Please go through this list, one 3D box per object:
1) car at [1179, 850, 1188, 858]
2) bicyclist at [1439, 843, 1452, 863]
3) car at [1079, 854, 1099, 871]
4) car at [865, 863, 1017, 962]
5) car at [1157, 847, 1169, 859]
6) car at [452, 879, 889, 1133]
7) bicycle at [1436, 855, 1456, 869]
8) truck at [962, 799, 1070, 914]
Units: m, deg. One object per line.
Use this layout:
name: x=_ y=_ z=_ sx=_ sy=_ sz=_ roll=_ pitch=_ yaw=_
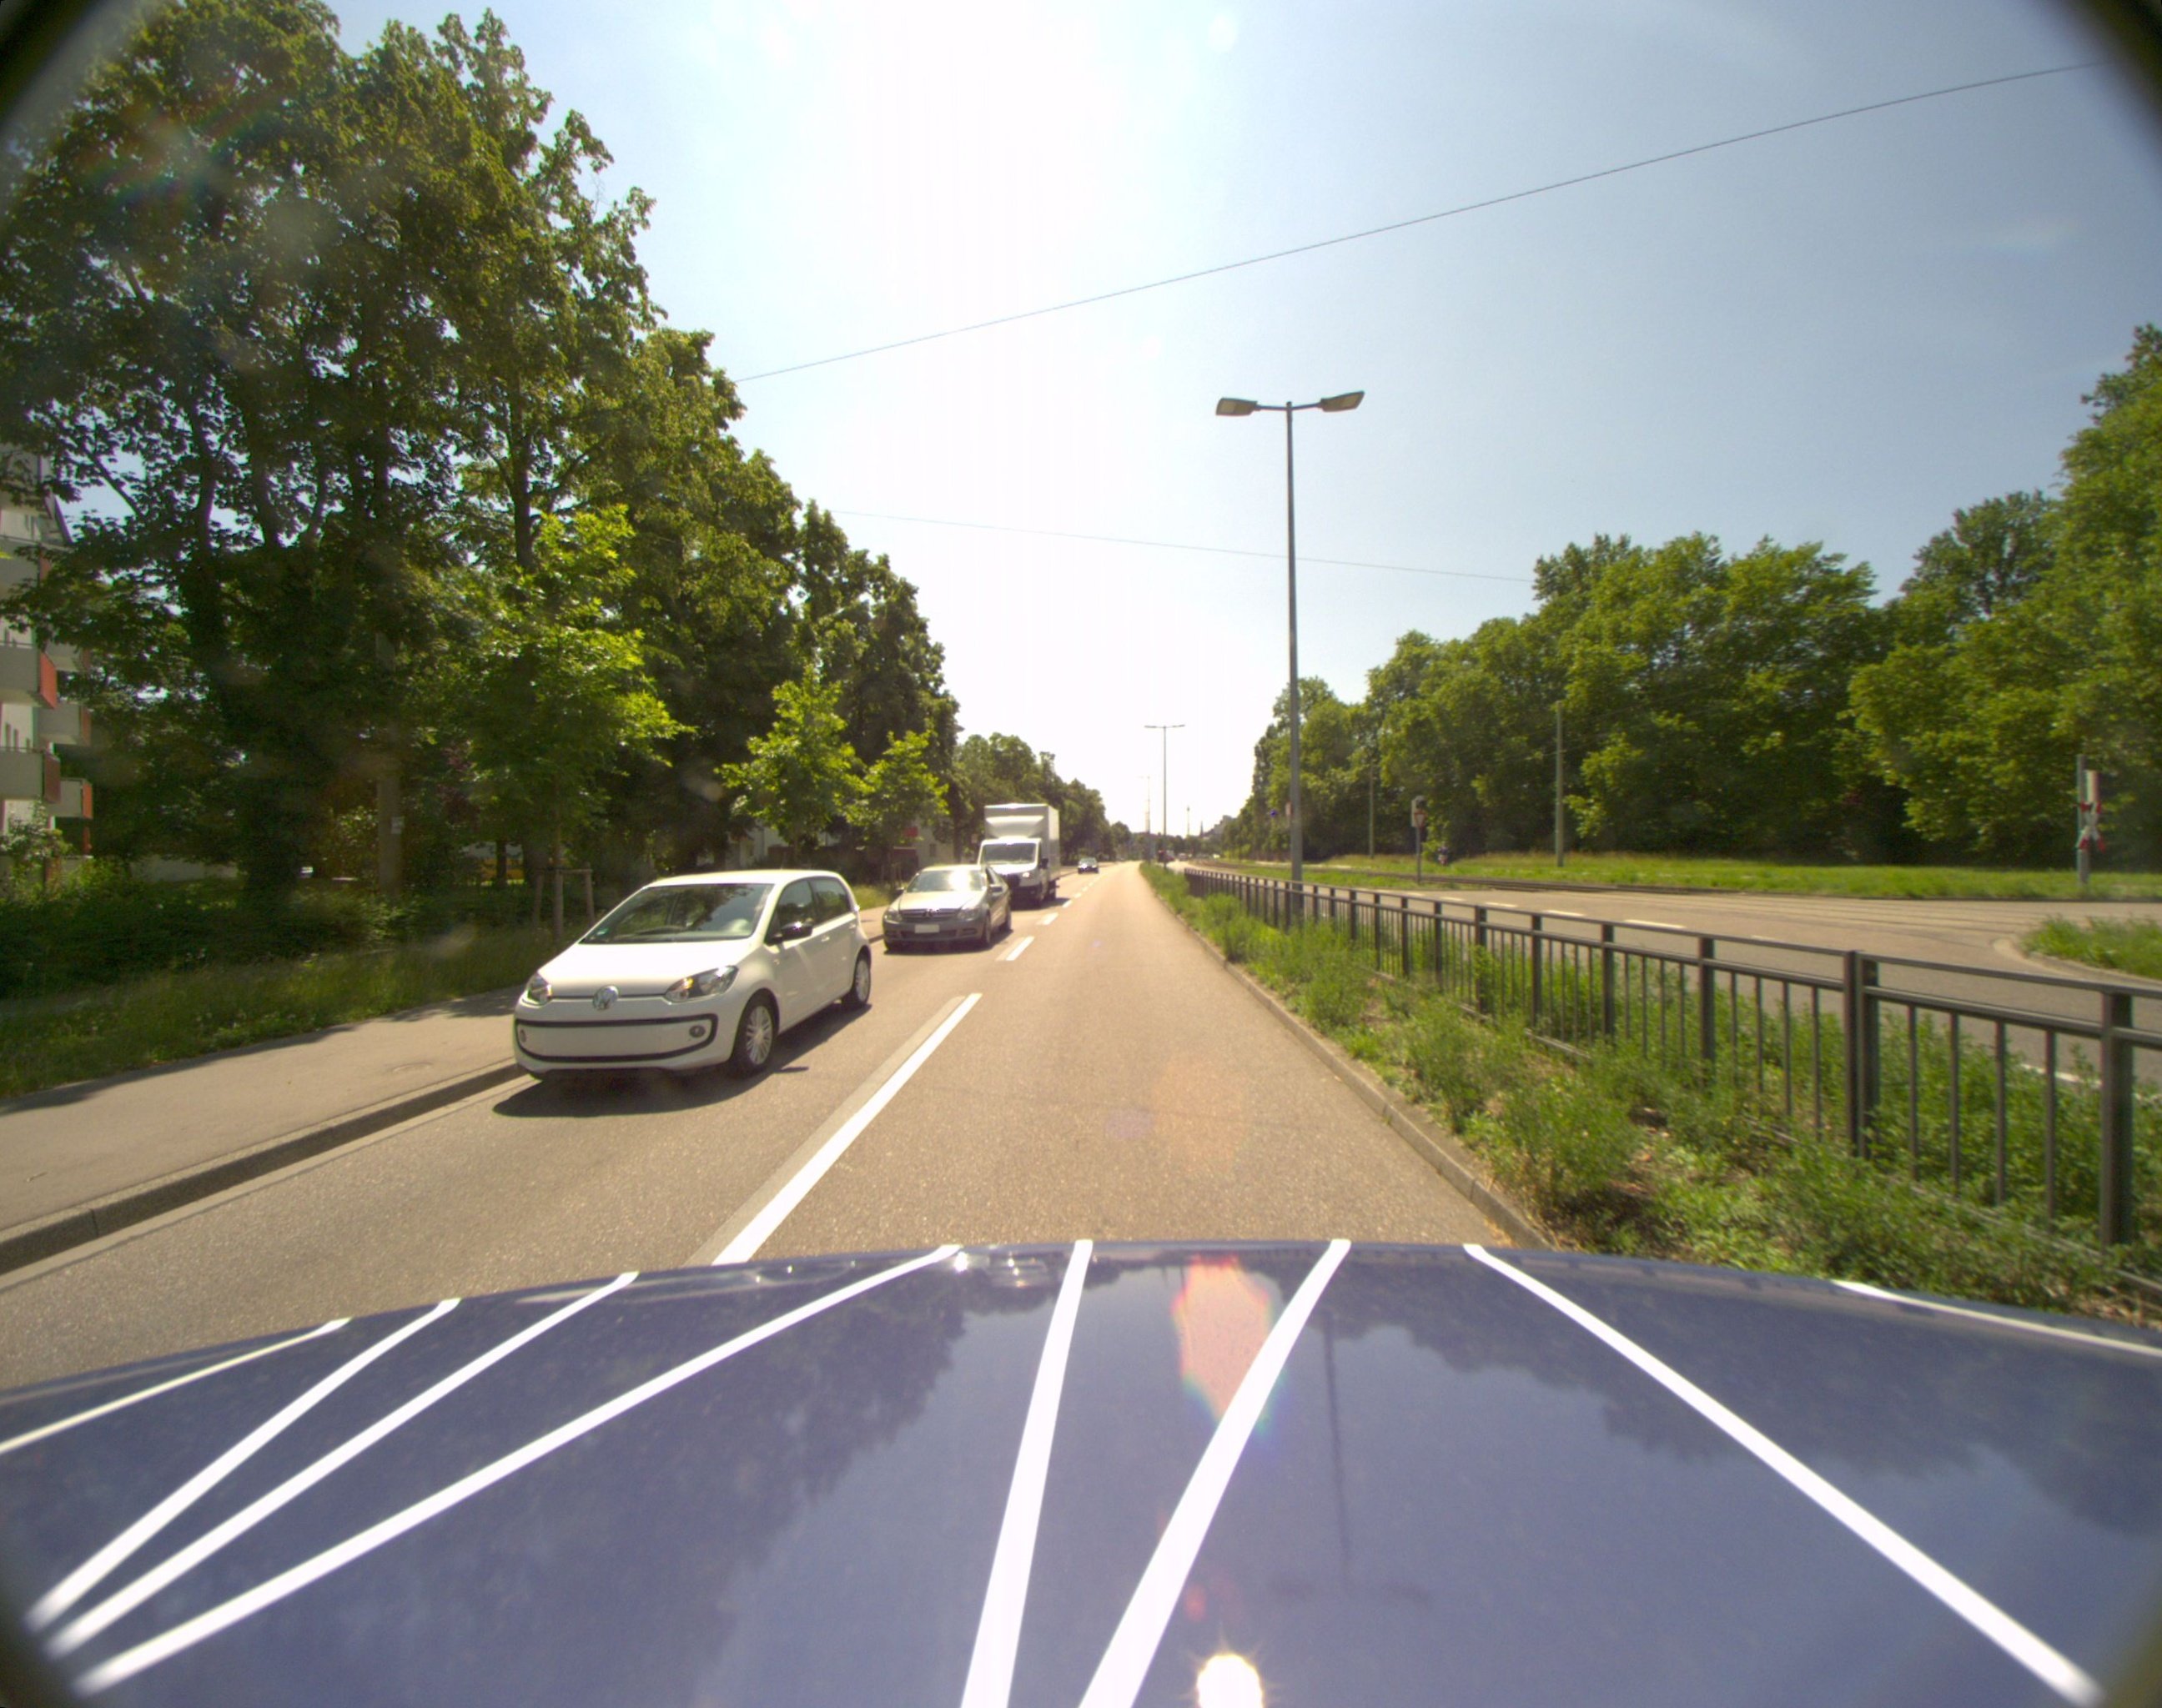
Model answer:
car: x=26.127 y=-0.112 z=193.740 sx=1.998 sy=2.002 sz=5.031 roll=0 pitch=0 yaw=2
bicyclist: x=24.498 y=-0.058 z=51.124 sx=0.509 sy=1.328 sz=0.680 roll=-1 pitch=1 yaw=-5
car: x=0.767 y=0.762 z=71.064 sx=1.829 sy=1.556 sz=4.000 roll=-1 pitch=0 yaw=2
car: x=-2.428 y=0.971 z=14.240 sx=1.903 sy=1.451 sz=3.971 roll=-2 pitch=1 yaw=3
car: x=15.754 y=-0.235 z=145.910 sx=1.998 sy=2.352 sz=5.373 roll=0 pitch=0 yaw=2
car: x=-3.116 y=1.039 z=6.781 sx=1.663 sy=1.441 sz=3.855 roll=-2 pitch=0 yaw=2
bicycle: x=24.507 y=0.536 z=51.015 sx=0.509 sy=0.896 sz=1.565 roll=-1 pitch=0 yaw=-4
truck: x=-1.936 y=0.046 z=26.058 sx=2.293 sy=3.259 sz=8.314 roll=-1 pitch=0 yaw=5
